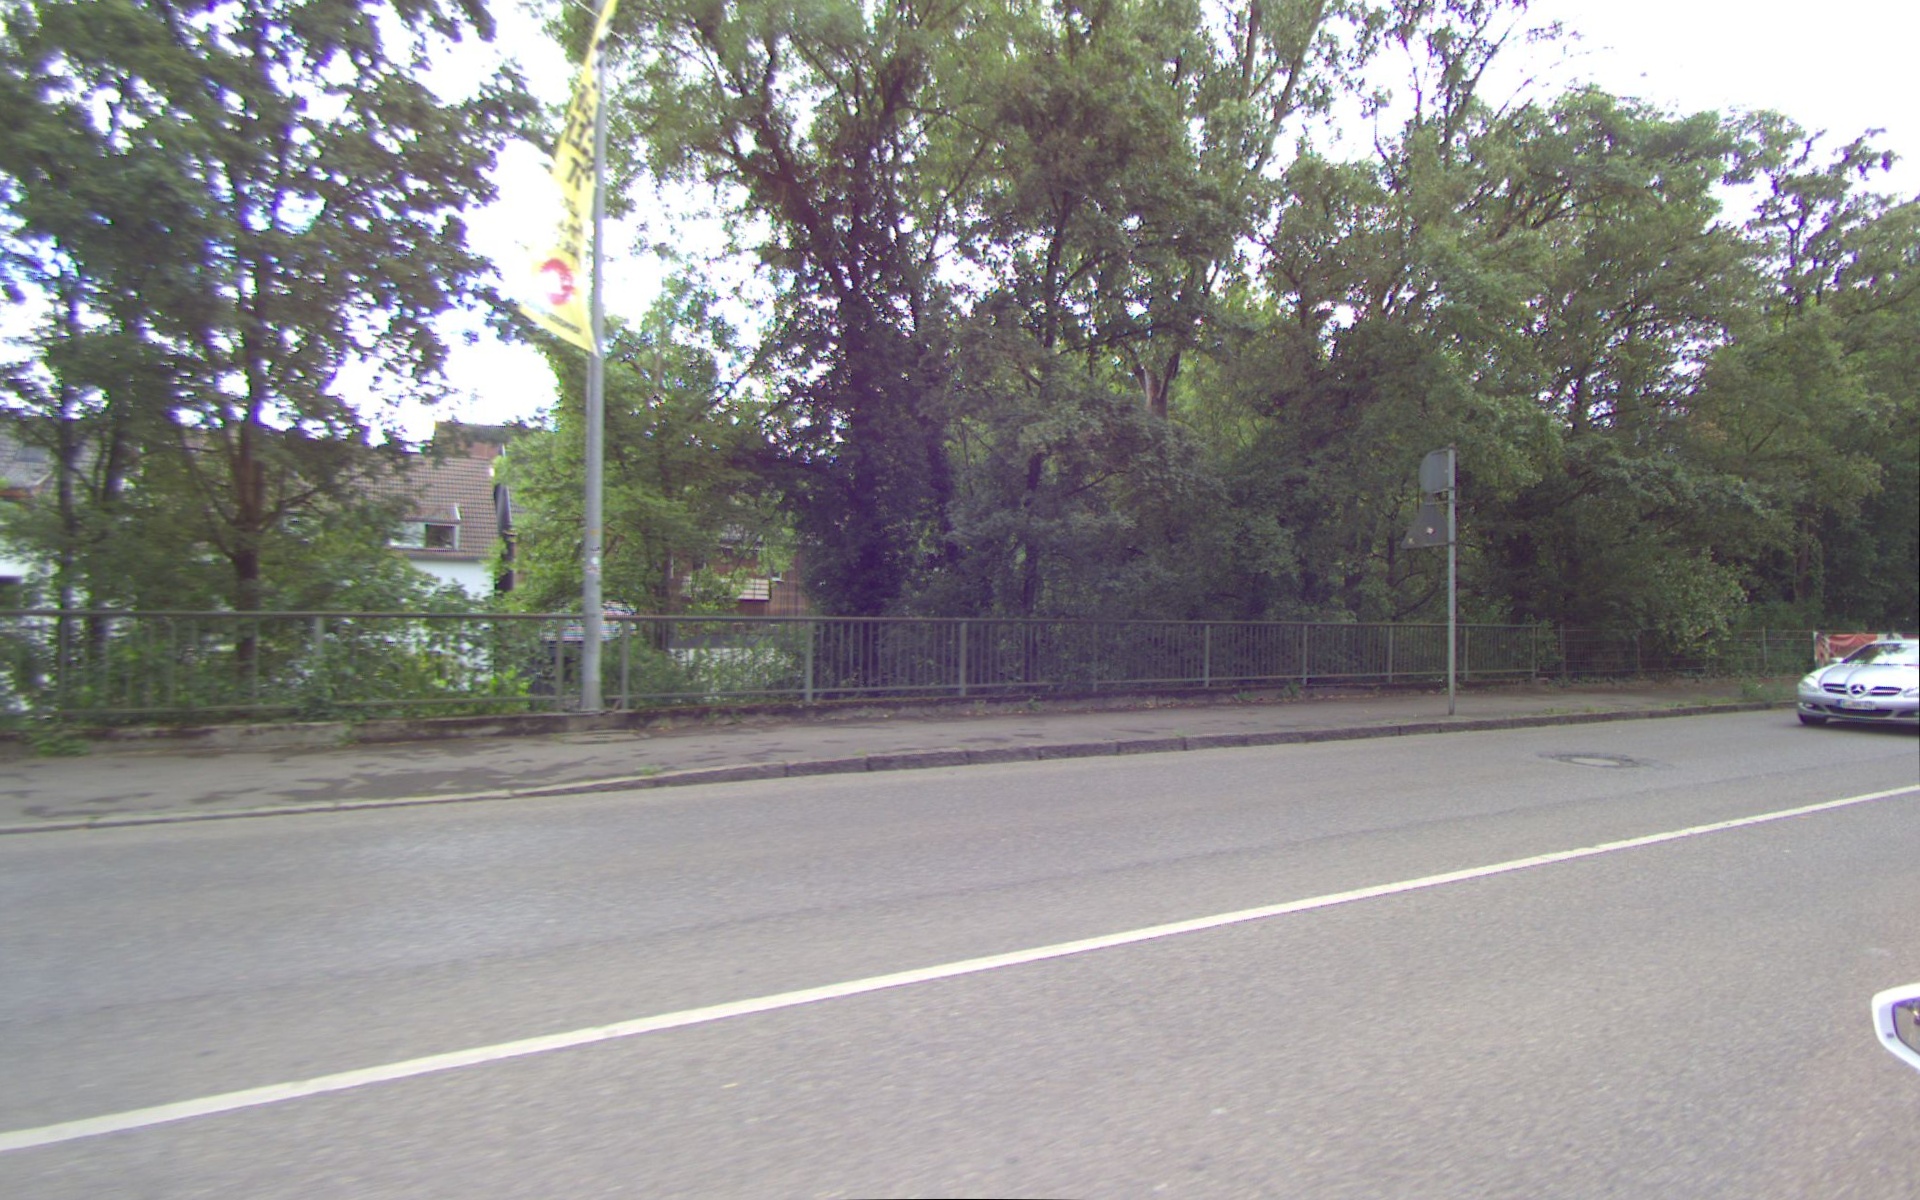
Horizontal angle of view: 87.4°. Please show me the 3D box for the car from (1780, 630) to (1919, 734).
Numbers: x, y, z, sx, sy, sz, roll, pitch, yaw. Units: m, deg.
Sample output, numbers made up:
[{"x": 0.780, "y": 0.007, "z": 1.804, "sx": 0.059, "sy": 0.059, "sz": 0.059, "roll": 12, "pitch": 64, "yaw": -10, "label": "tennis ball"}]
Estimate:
[{"x": 13.914, "y": 1.133, "z": 14.728, "sx": 3.652, "sy": 1.355, "sz": 1.750, "roll": 1, "pitch": -1, "yaw": -30, "label": "car"}]
